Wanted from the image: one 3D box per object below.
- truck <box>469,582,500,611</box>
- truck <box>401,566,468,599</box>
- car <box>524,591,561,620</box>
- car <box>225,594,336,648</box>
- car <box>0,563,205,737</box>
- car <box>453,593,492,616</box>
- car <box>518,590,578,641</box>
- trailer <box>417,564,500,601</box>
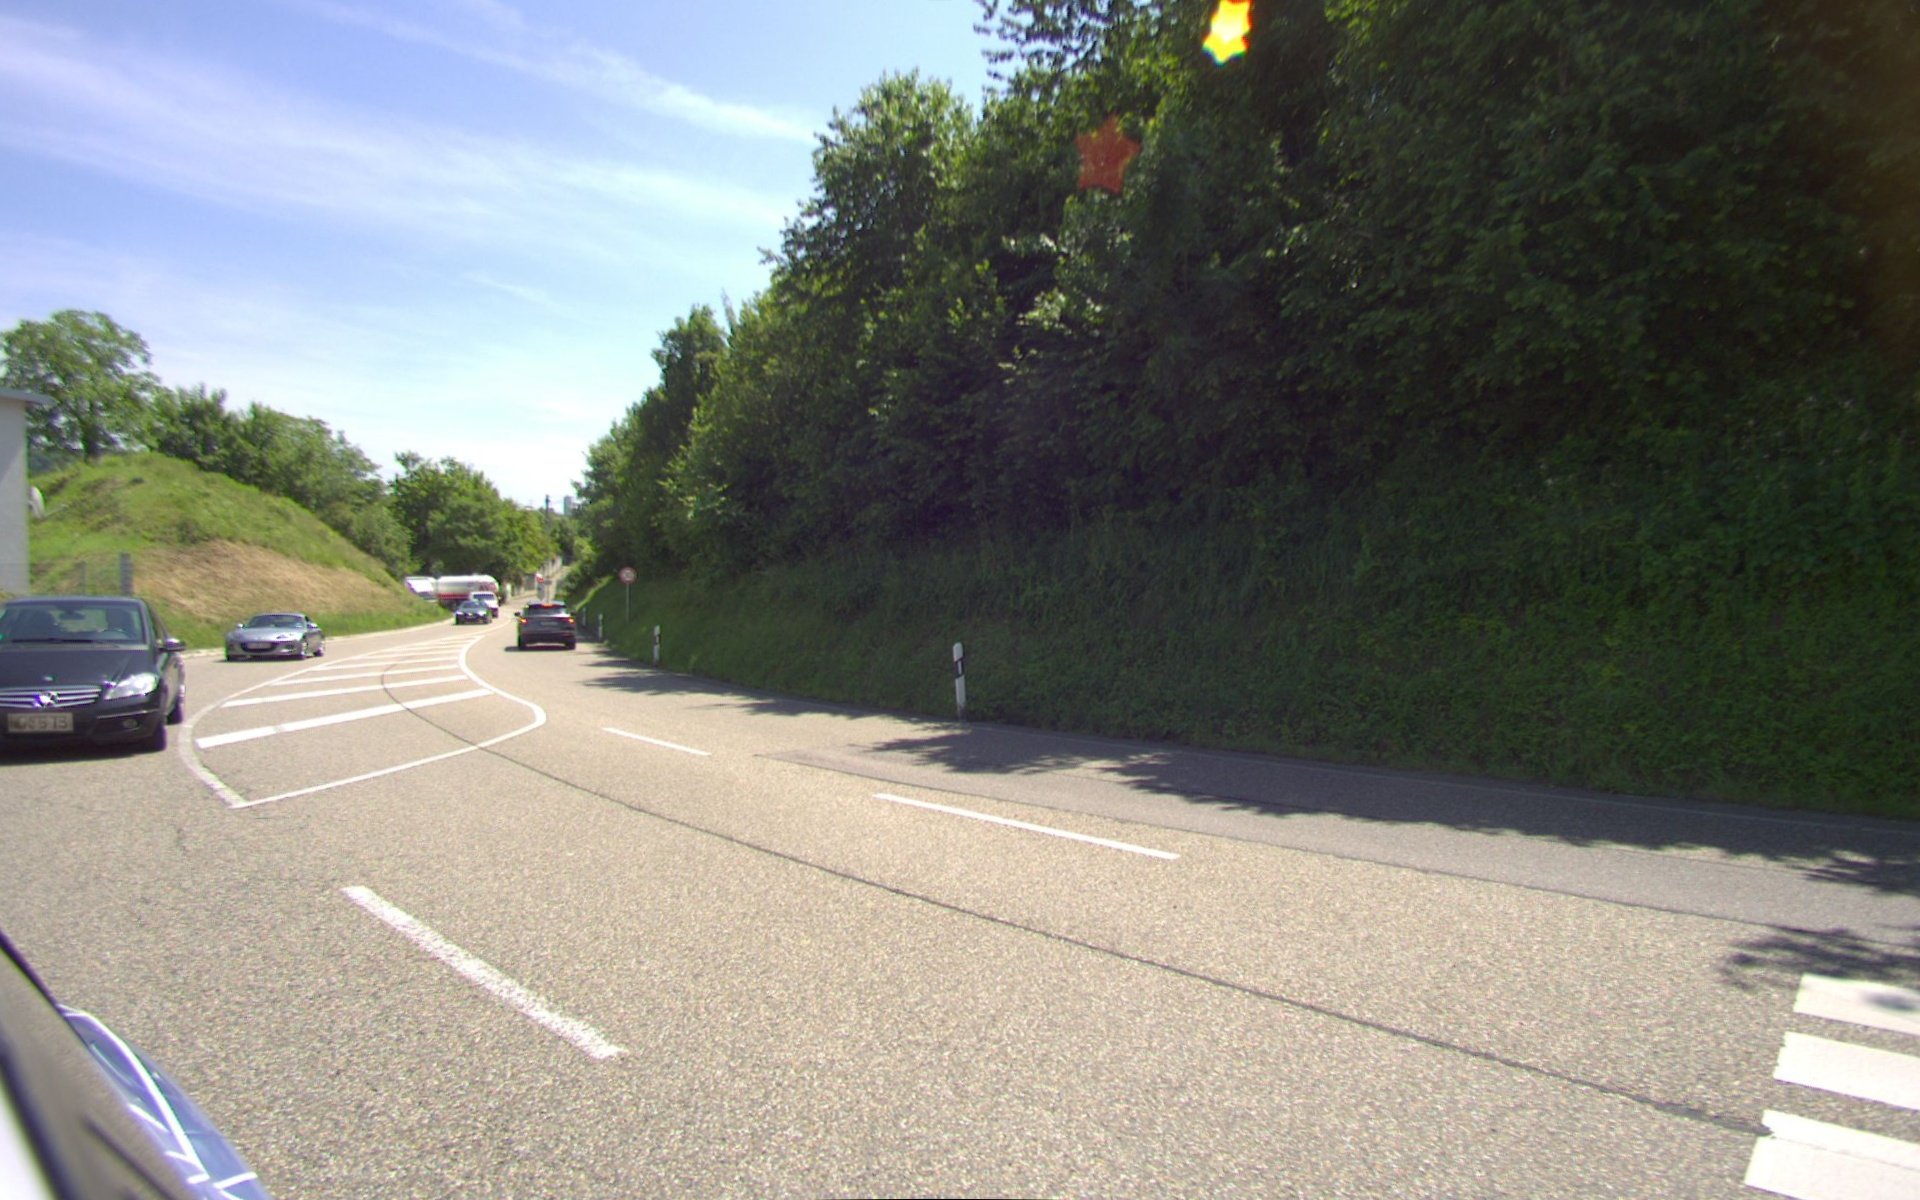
[{"bbox_3d":[-35.527,-0.273,75.536,2.037,2.028,5.262,-1,1,-26],"label":"truck"},{"bbox_3d":[-52.633,-1.768,101.335,7.042,3.194,2.607,1,1,31],"label":"truck"},{"bbox_3d":[-21.778,0.259,52.830,1.725,1.459,4.013,0,0,-22],"label":"car"},{"bbox_3d":[-18.158,0.540,27.179,1.620,1.332,3.449,2,-1,-19],"label":"car"},{"bbox_3d":[-9.555,0.454,11.026,1.766,1.591,3.811,2,-1,-32],"label":"car"},{"bbox_3d":[-29.103,0.262,60.525,1.726,1.298,4.159,-1,1,-21],"label":"car"},{"bbox_3d":[-13.991,0.488,34.454,1.766,1.617,4.194,0,0,-22],"label":"car"},{"bbox_3d":[-48.826,-1.702,98.304,11.125,3.398,2.608,1,1,38],"label":"trailer"}]
